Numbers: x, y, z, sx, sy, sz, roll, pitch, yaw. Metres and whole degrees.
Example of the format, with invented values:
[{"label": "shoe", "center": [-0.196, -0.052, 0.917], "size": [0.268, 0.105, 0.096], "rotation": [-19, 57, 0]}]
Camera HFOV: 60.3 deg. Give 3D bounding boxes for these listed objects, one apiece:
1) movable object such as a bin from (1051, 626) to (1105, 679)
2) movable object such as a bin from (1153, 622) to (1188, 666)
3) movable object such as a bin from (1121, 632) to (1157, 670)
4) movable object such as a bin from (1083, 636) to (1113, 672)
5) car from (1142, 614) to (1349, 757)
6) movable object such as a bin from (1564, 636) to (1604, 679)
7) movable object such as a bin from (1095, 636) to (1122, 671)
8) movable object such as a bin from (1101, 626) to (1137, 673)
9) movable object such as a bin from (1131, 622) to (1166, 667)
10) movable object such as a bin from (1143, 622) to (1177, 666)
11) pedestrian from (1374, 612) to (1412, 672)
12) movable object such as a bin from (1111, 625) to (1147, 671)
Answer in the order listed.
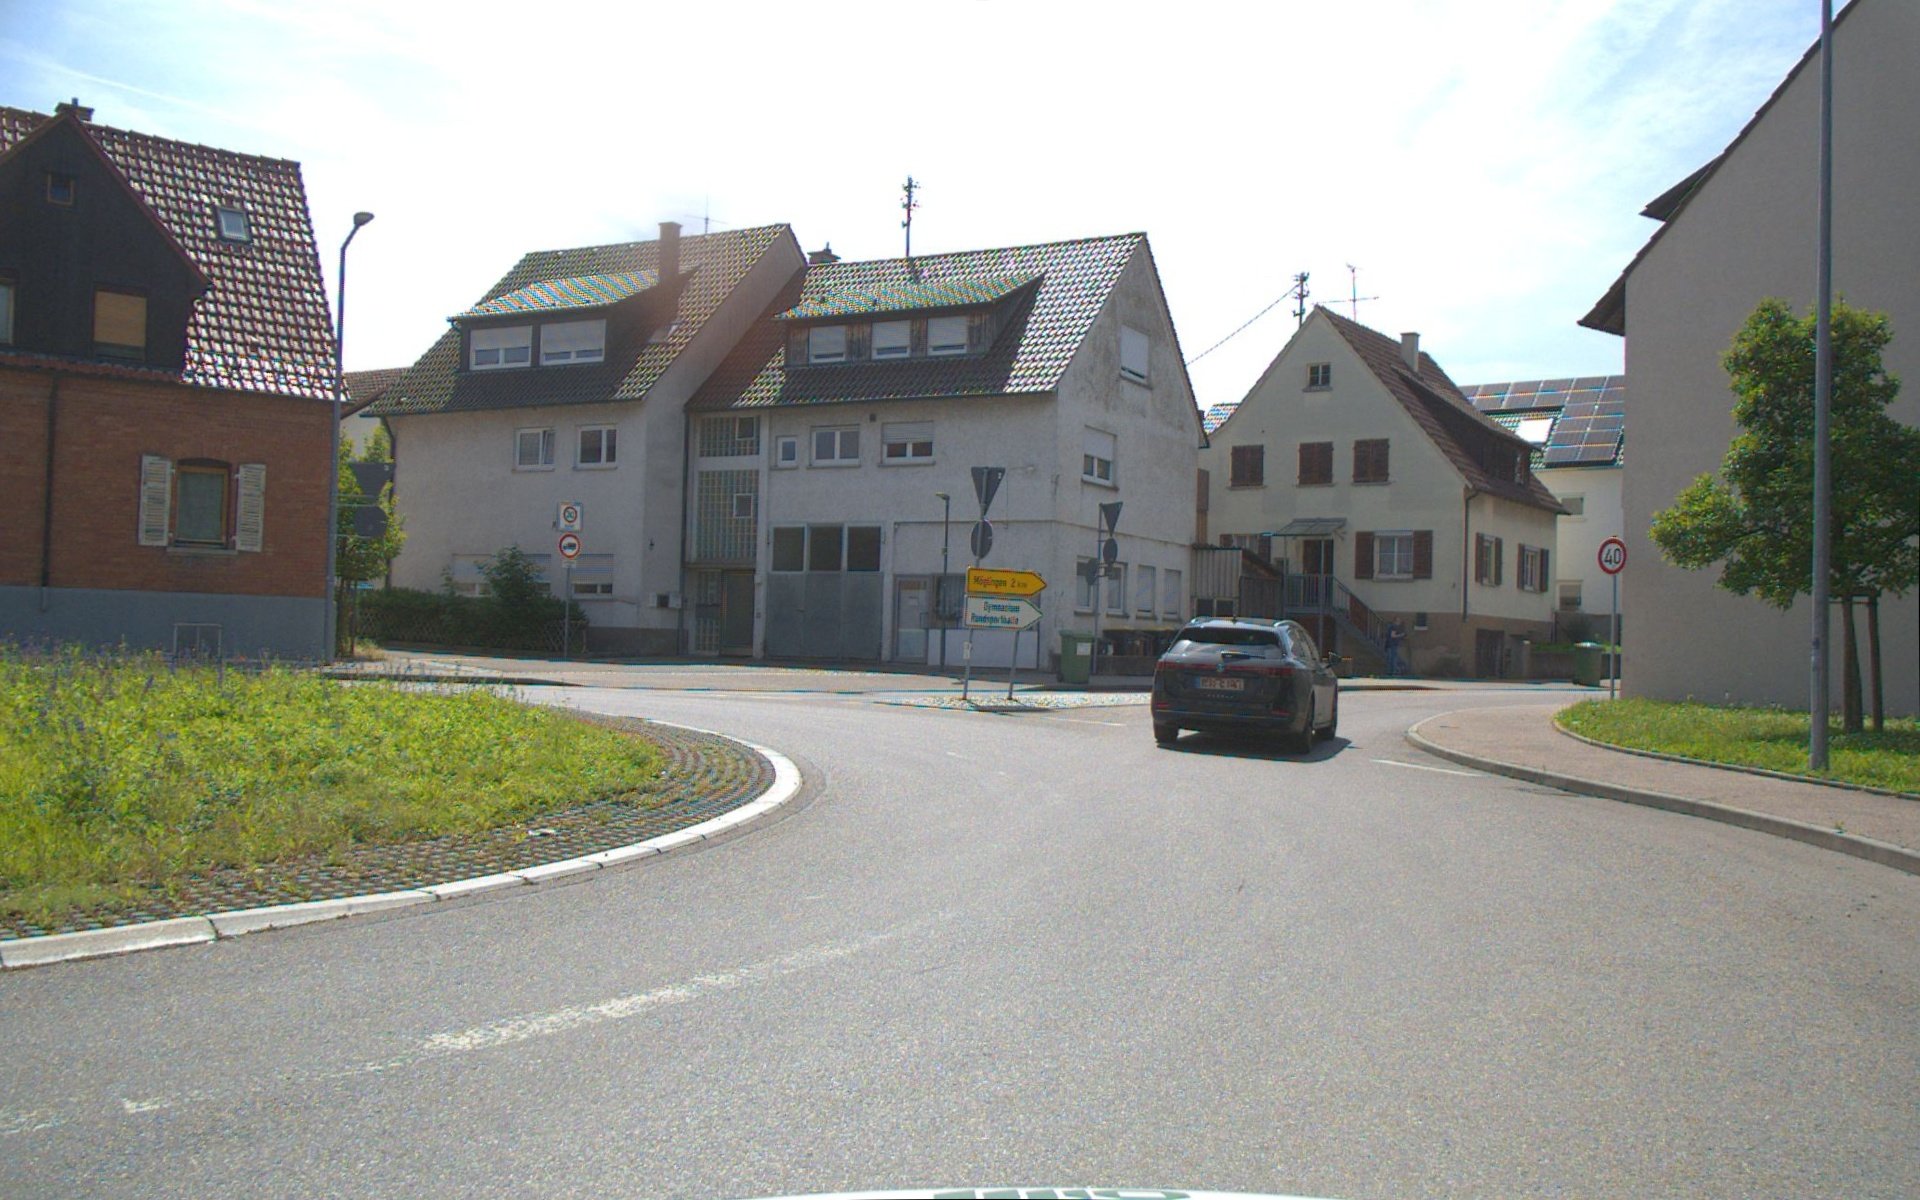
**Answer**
[{"label": "movable object such as a bin", "center": [2.442, 1.092, 34.382], "size": [0.814, 1.063, 0.804], "rotation": [1, 0, -26]}, {"label": "movable object such as a bin", "center": [5.476, 1.135, 43.015], "size": [0.724, 1.101, 0.659], "rotation": [1, 0, 27]}, {"label": "movable object such as a bin", "center": [4.490, 1.268, 41.426], "size": [0.669, 0.912, 0.697], "rotation": [1, 0, 27]}, {"label": "movable object such as a bin", "center": [3.265, 1.262, 39.019], "size": [0.476, 0.819, 0.645], "rotation": [1, 0, 29]}, {"label": "car", "center": [3.536, 0.915, 19.764], "size": [1.803, 1.445, 4.684], "rotation": [1, 0, 18]}, {"label": "movable object such as a bin", "center": [16.288, 1.499, 43.169], "size": [0.645, 1.076, 0.782], "rotation": [1, -1, -40]}, {"label": "movable object such as a bin", "center": [3.563, 1.280, 39.589], "size": [0.476, 0.794, 0.527], "rotation": [1, 0, 27]}, {"label": "movable object such as a bin", "center": [3.858, 1.188, 40.145], "size": [0.669, 1.105, 0.644], "rotation": [1, 0, 27]}, {"label": "movable object such as a bin", "center": [4.800, 1.125, 42.139], "size": [0.669, 1.101, 0.697], "rotation": [1, 0, 27]}, {"label": "movable object such as a bin", "center": [5.139, 1.124, 42.431], "size": [0.669, 1.101, 0.625], "rotation": [1, 0, 27]}, {"label": "pedestrian", "center": [11.841, 1.138, 45.260], "size": [0.766, 1.601, 0.623], "rotation": [1, 0, 45]}, {"label": "movable object such as a bin", "center": [4.165, 1.183, 40.766], "size": [0.669, 1.105, 0.697], "rotation": [1, 0, 27]}]
